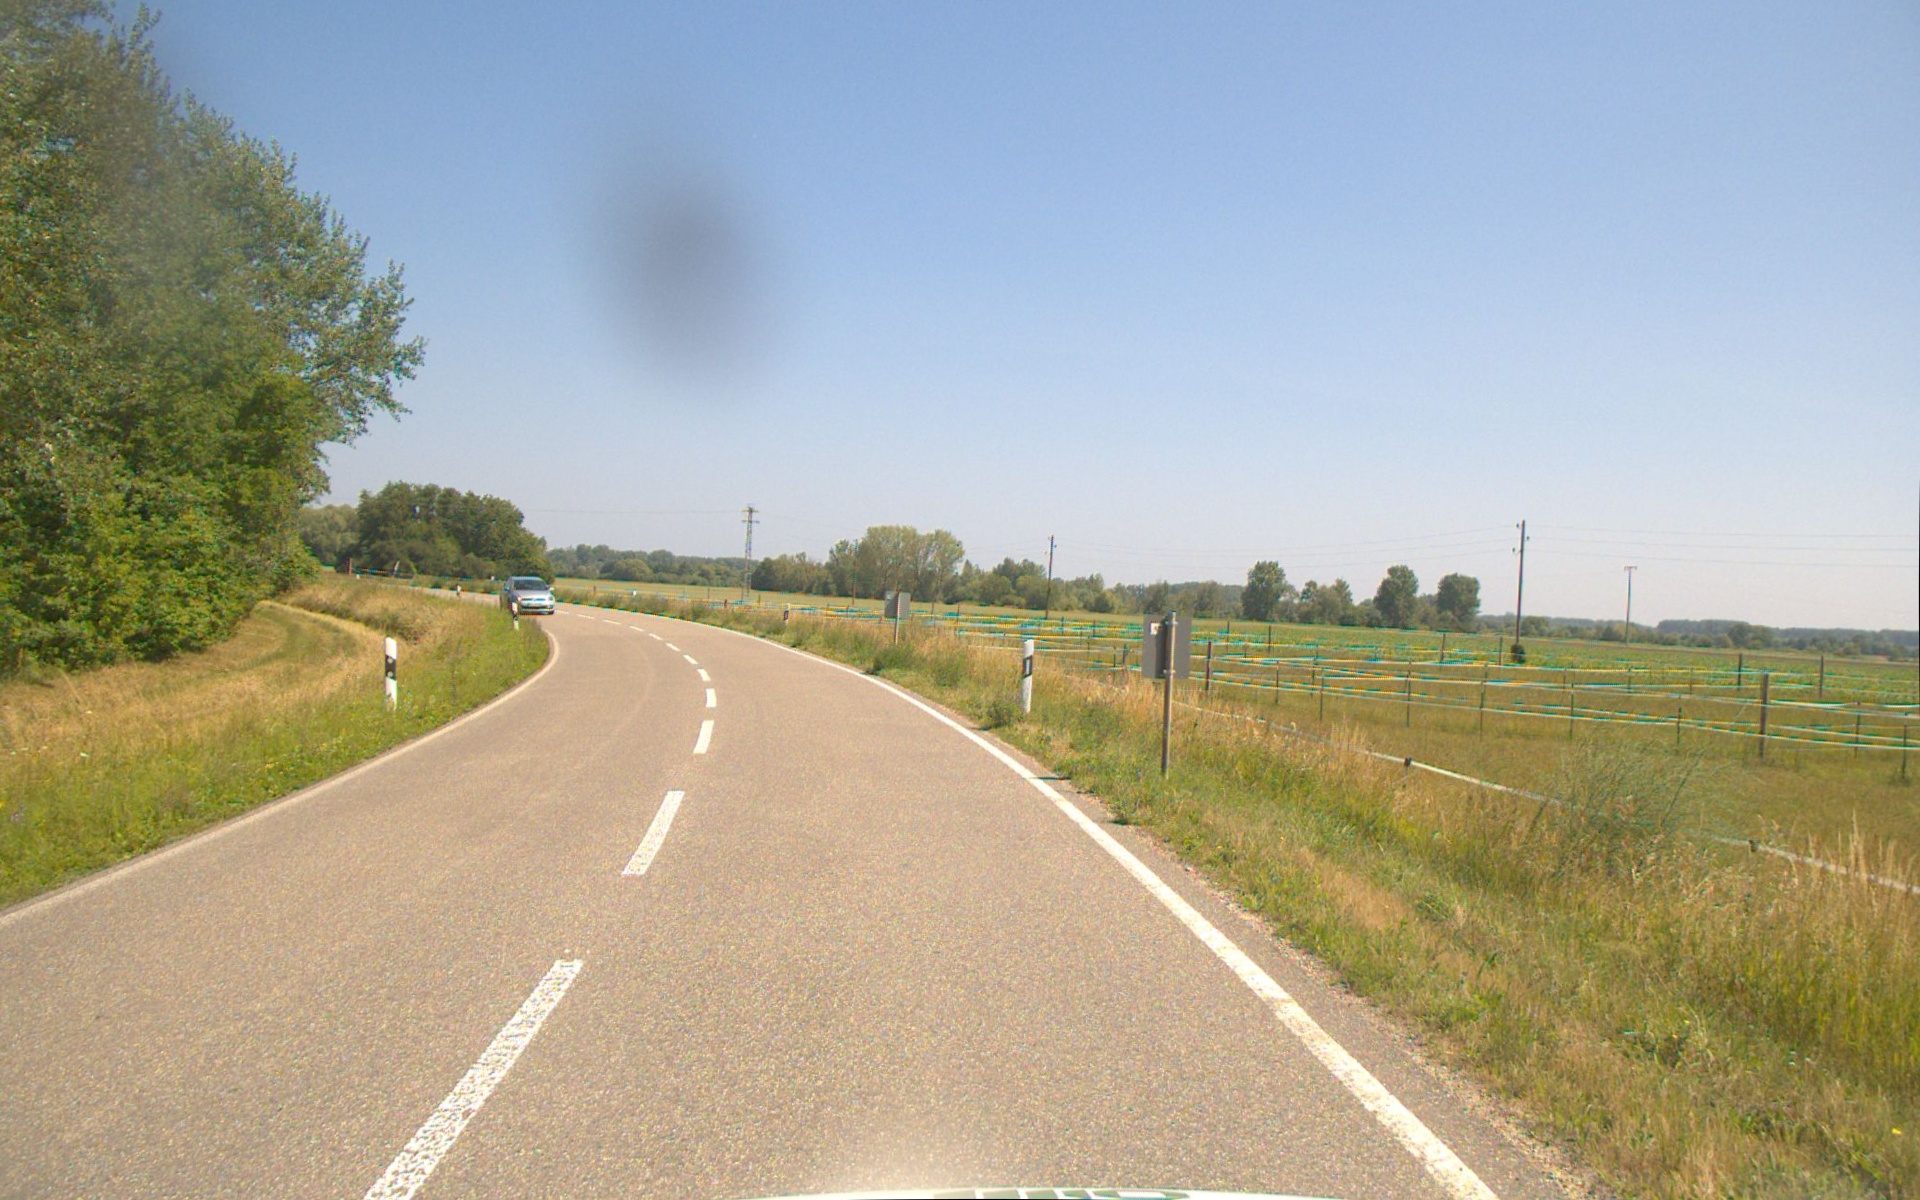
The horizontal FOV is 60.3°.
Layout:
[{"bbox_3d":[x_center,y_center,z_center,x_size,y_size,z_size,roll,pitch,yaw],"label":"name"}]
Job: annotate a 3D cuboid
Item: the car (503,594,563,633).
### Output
[{"bbox_3d":[-17.035,0.497,65.886,1.759,1.452,4.032,-1,1,-23],"label":"car"}]
